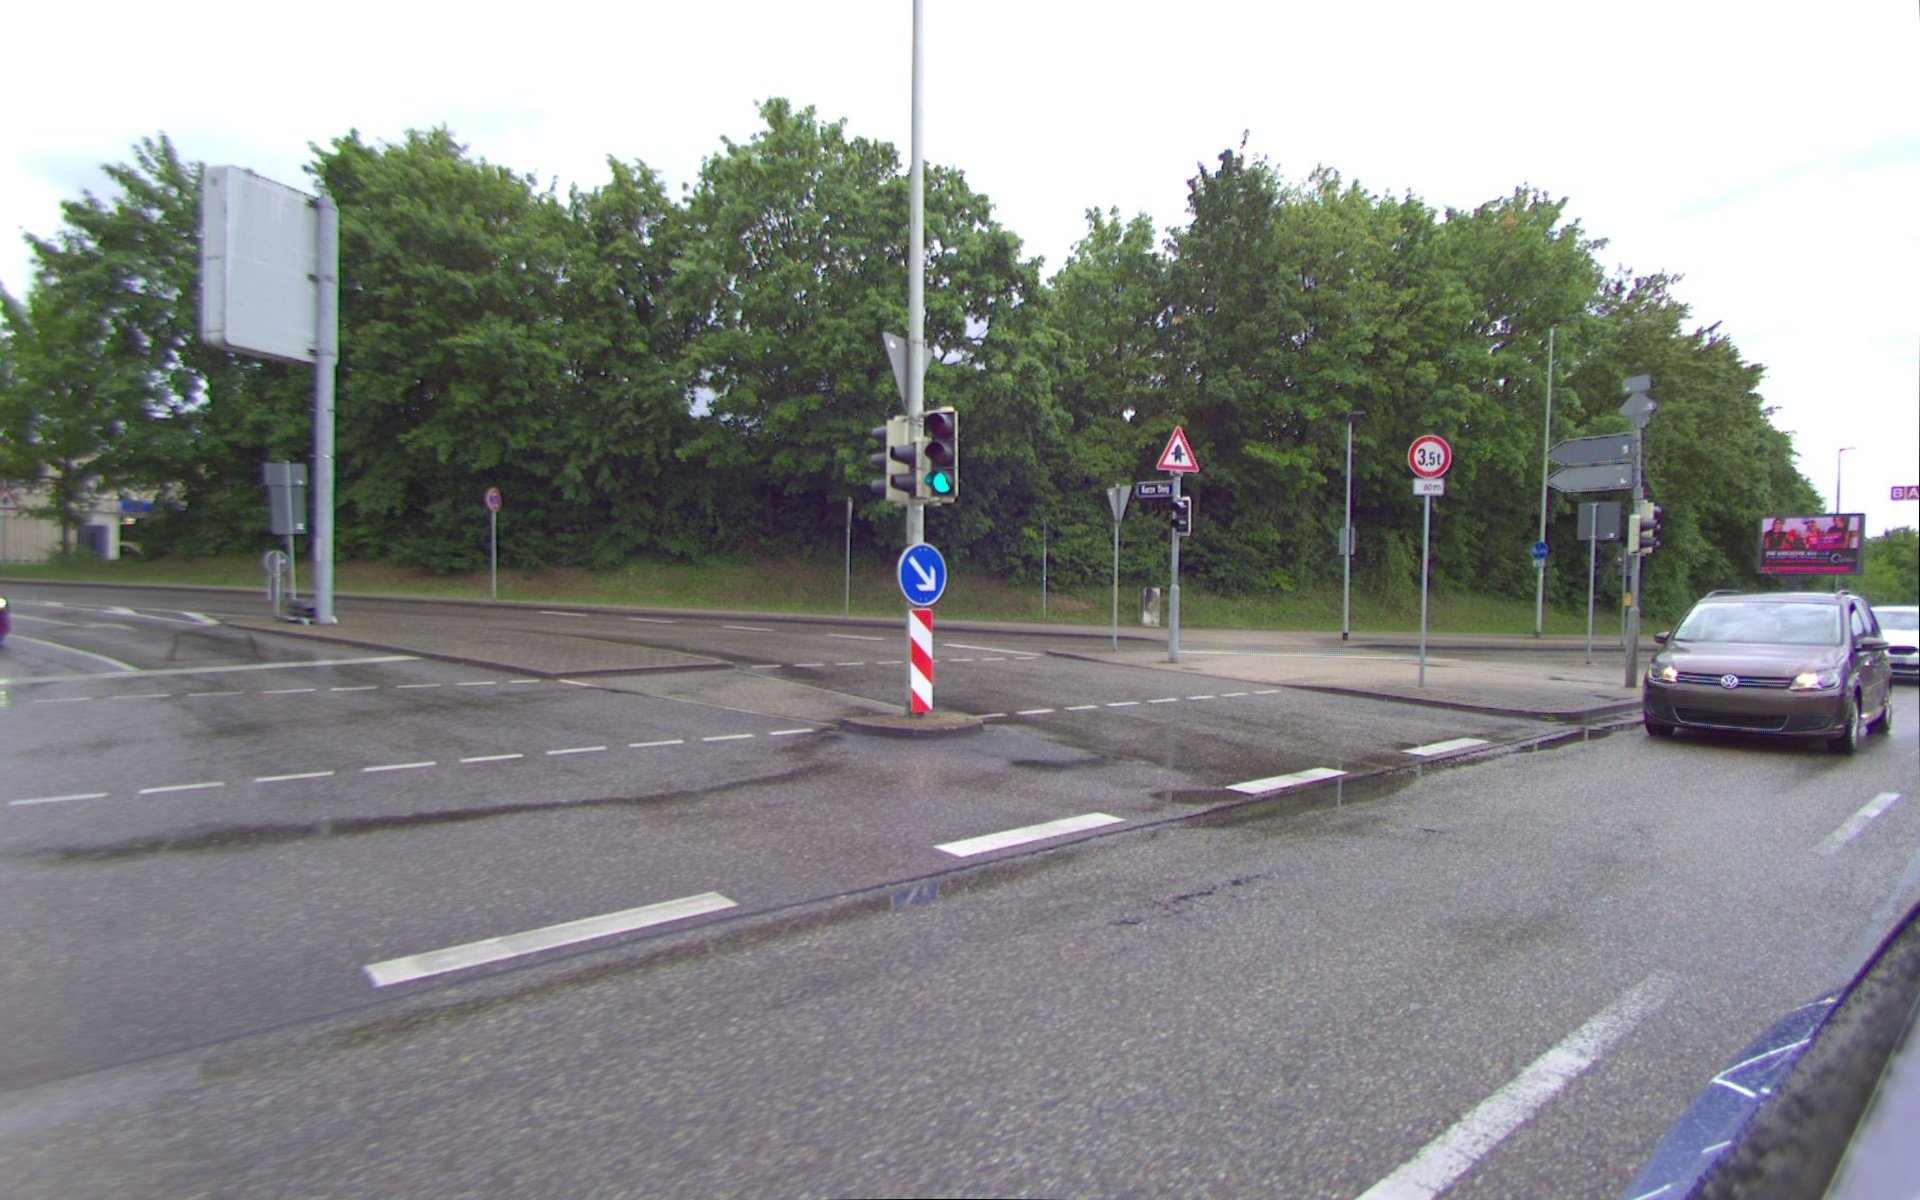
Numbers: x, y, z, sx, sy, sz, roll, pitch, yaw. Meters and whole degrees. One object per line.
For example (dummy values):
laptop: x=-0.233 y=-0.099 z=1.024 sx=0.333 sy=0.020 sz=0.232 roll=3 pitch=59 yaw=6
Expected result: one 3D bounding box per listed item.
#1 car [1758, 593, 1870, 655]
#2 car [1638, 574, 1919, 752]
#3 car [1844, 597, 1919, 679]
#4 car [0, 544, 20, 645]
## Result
car: x=26.802 y=0.730 z=31.720 sx=4.240 sy=1.749 sz=1.997 roll=1 pitch=1 yaw=-41
car: x=9.161 y=0.565 z=11.212 sx=3.910 sy=1.629 sz=1.750 roll=0 pitch=0 yaw=-41
car: x=18.944 y=0.691 z=19.939 sx=4.600 sy=1.475 sz=1.782 roll=0 pitch=0 yaw=-42
car: x=-15.988 y=-0.160 z=15.134 sx=3.969 sy=1.445 sz=1.833 roll=4 pitch=4 yaw=31
